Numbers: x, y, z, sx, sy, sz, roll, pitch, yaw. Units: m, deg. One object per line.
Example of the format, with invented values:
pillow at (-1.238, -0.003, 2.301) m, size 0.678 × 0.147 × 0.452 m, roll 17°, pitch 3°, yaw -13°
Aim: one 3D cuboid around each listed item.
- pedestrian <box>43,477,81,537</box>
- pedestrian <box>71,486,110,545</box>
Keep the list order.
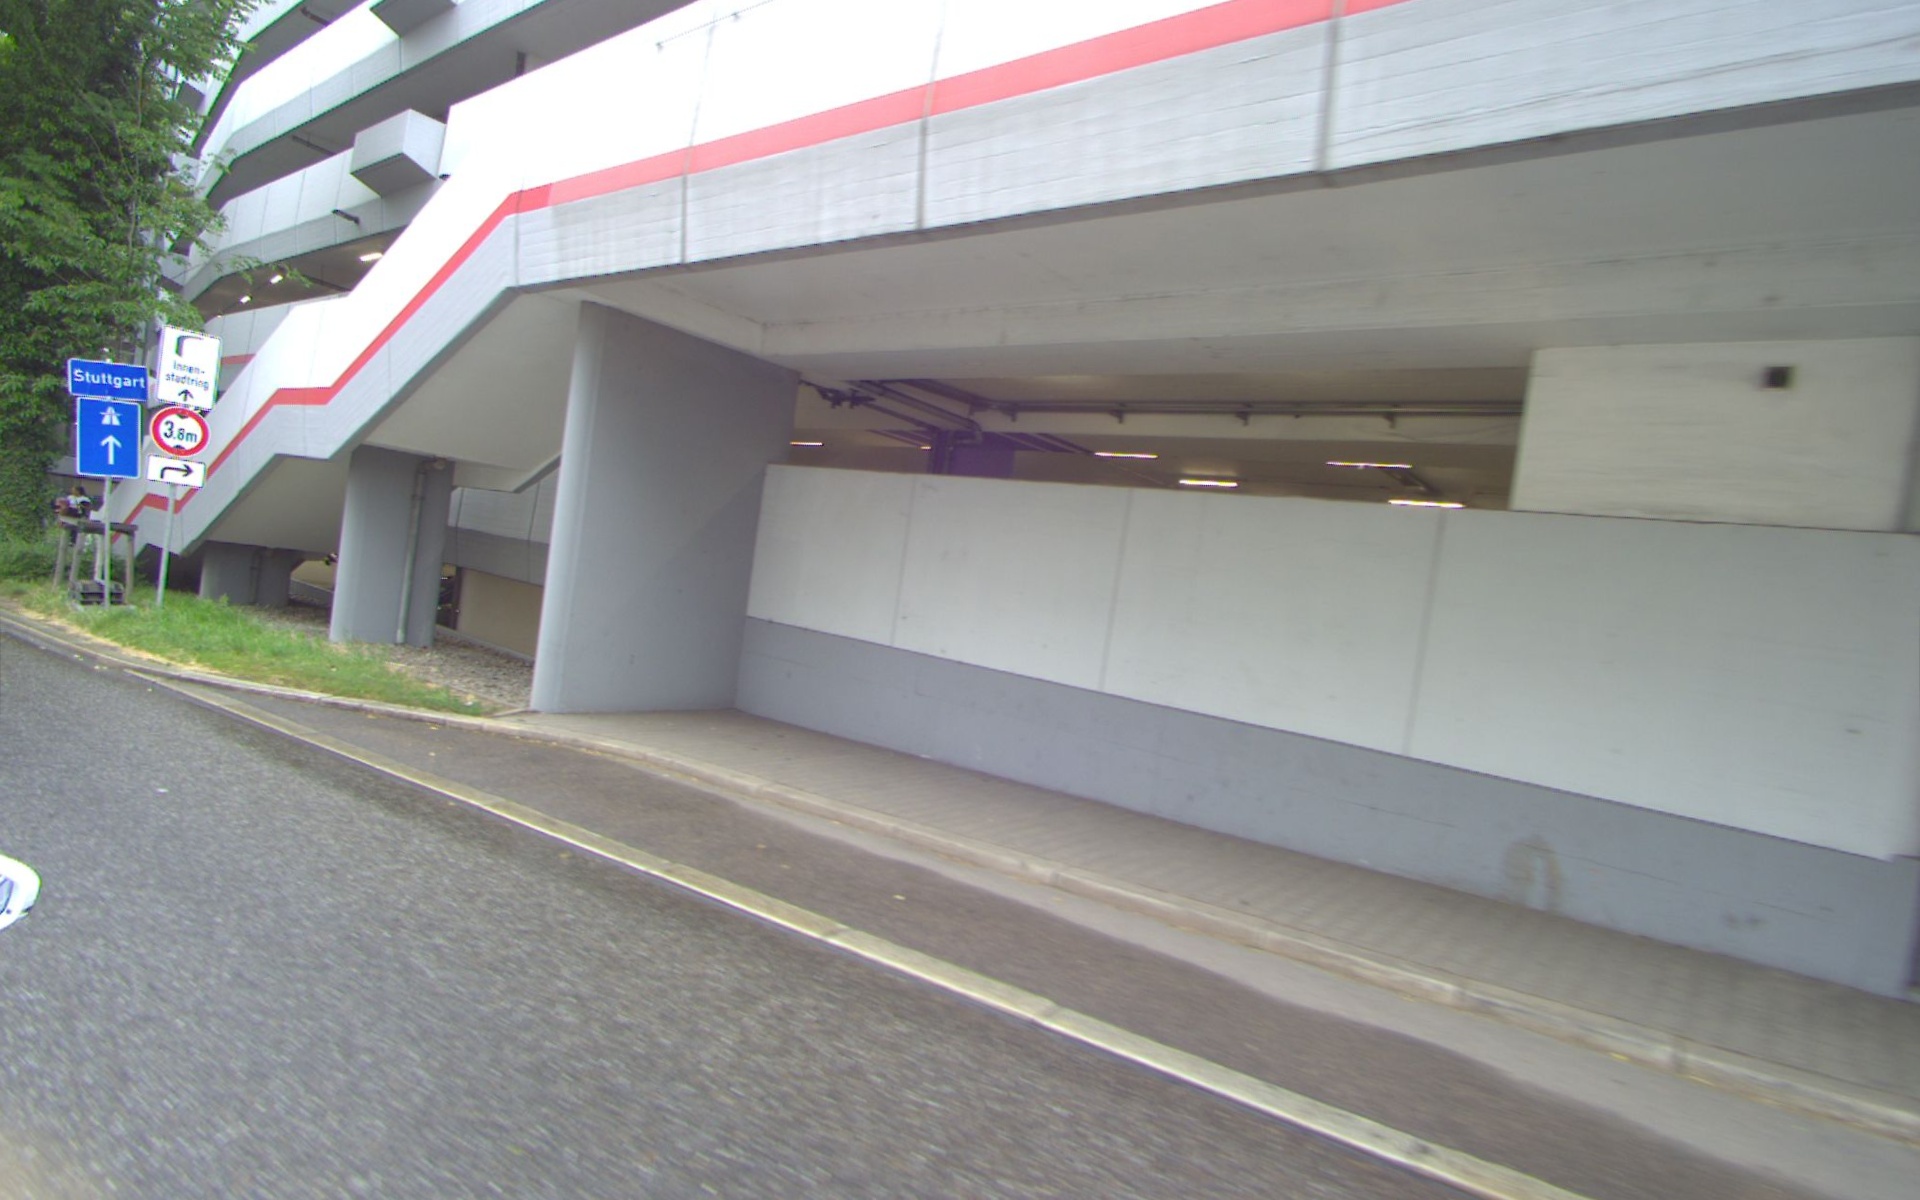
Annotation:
pedestrian at (-24.536, -2.542, 27.489) m, size 0.481 × 1.550 × 0.551 m, roll 6°, pitch -1°, yaw 39°
pedestrian at (-24.096, -2.335, 27.878) m, size 0.496 × 1.519 × 0.582 m, roll 6°, pitch -1°, yaw 37°
